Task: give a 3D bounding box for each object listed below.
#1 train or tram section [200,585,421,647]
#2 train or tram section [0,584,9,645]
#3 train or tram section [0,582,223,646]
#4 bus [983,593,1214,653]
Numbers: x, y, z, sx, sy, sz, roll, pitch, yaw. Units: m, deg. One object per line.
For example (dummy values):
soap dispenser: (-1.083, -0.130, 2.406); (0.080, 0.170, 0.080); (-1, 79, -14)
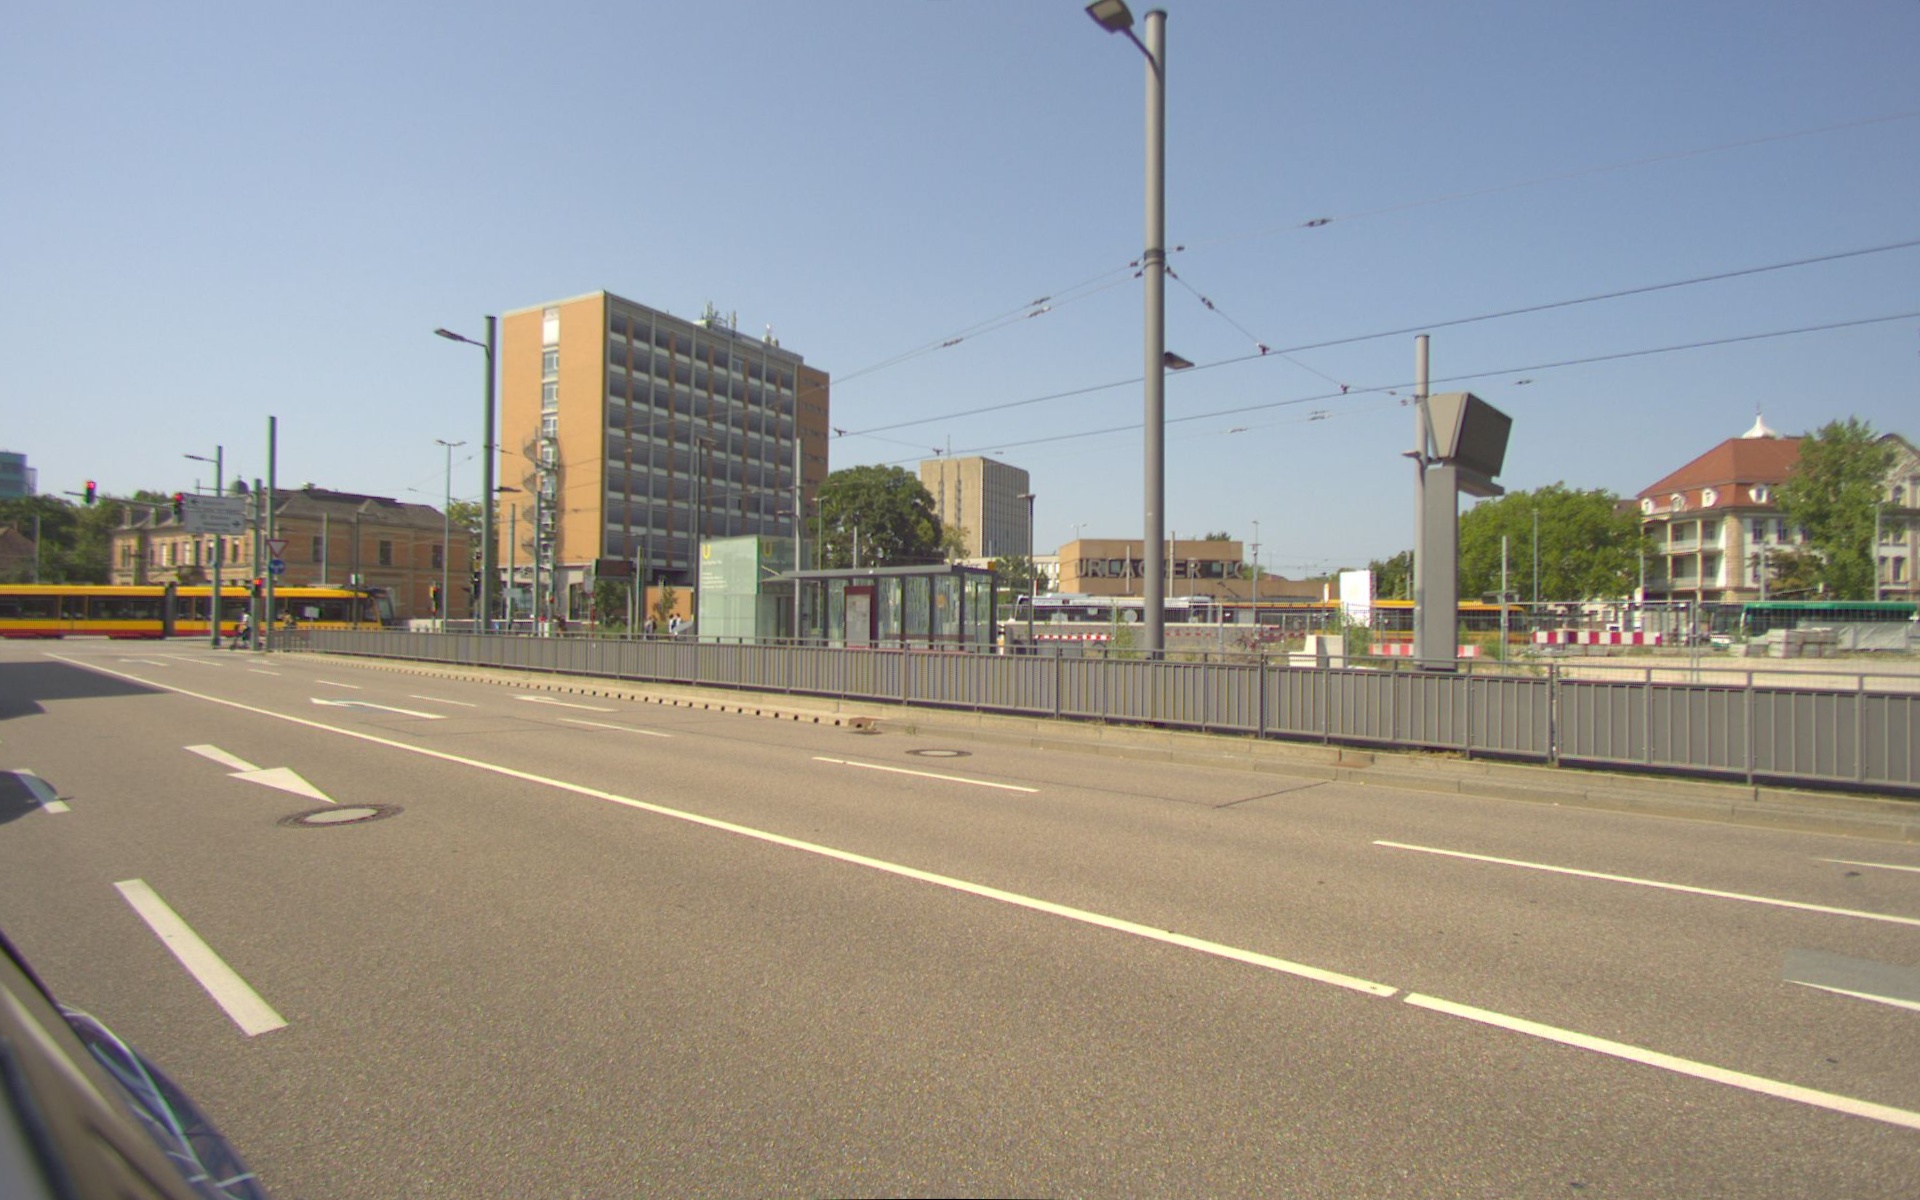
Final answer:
train or tram section: (-41.329, 1.038, 64.680); (12.175, 3.794, 2.003); (1, -2, -6)
train or tram section: (-65.406, 0.784, 61.235); (12.164, 3.794, 2.005); (1, -2, -11)
train or tram section: (-53.390, 0.893, 63.261); (12.170, 3.794, 2.004); (1, -2, -8)
bus: (8.159, 1.315, 60.598); (13.207, 3.319, 3.354); (-1, 0, -3)
